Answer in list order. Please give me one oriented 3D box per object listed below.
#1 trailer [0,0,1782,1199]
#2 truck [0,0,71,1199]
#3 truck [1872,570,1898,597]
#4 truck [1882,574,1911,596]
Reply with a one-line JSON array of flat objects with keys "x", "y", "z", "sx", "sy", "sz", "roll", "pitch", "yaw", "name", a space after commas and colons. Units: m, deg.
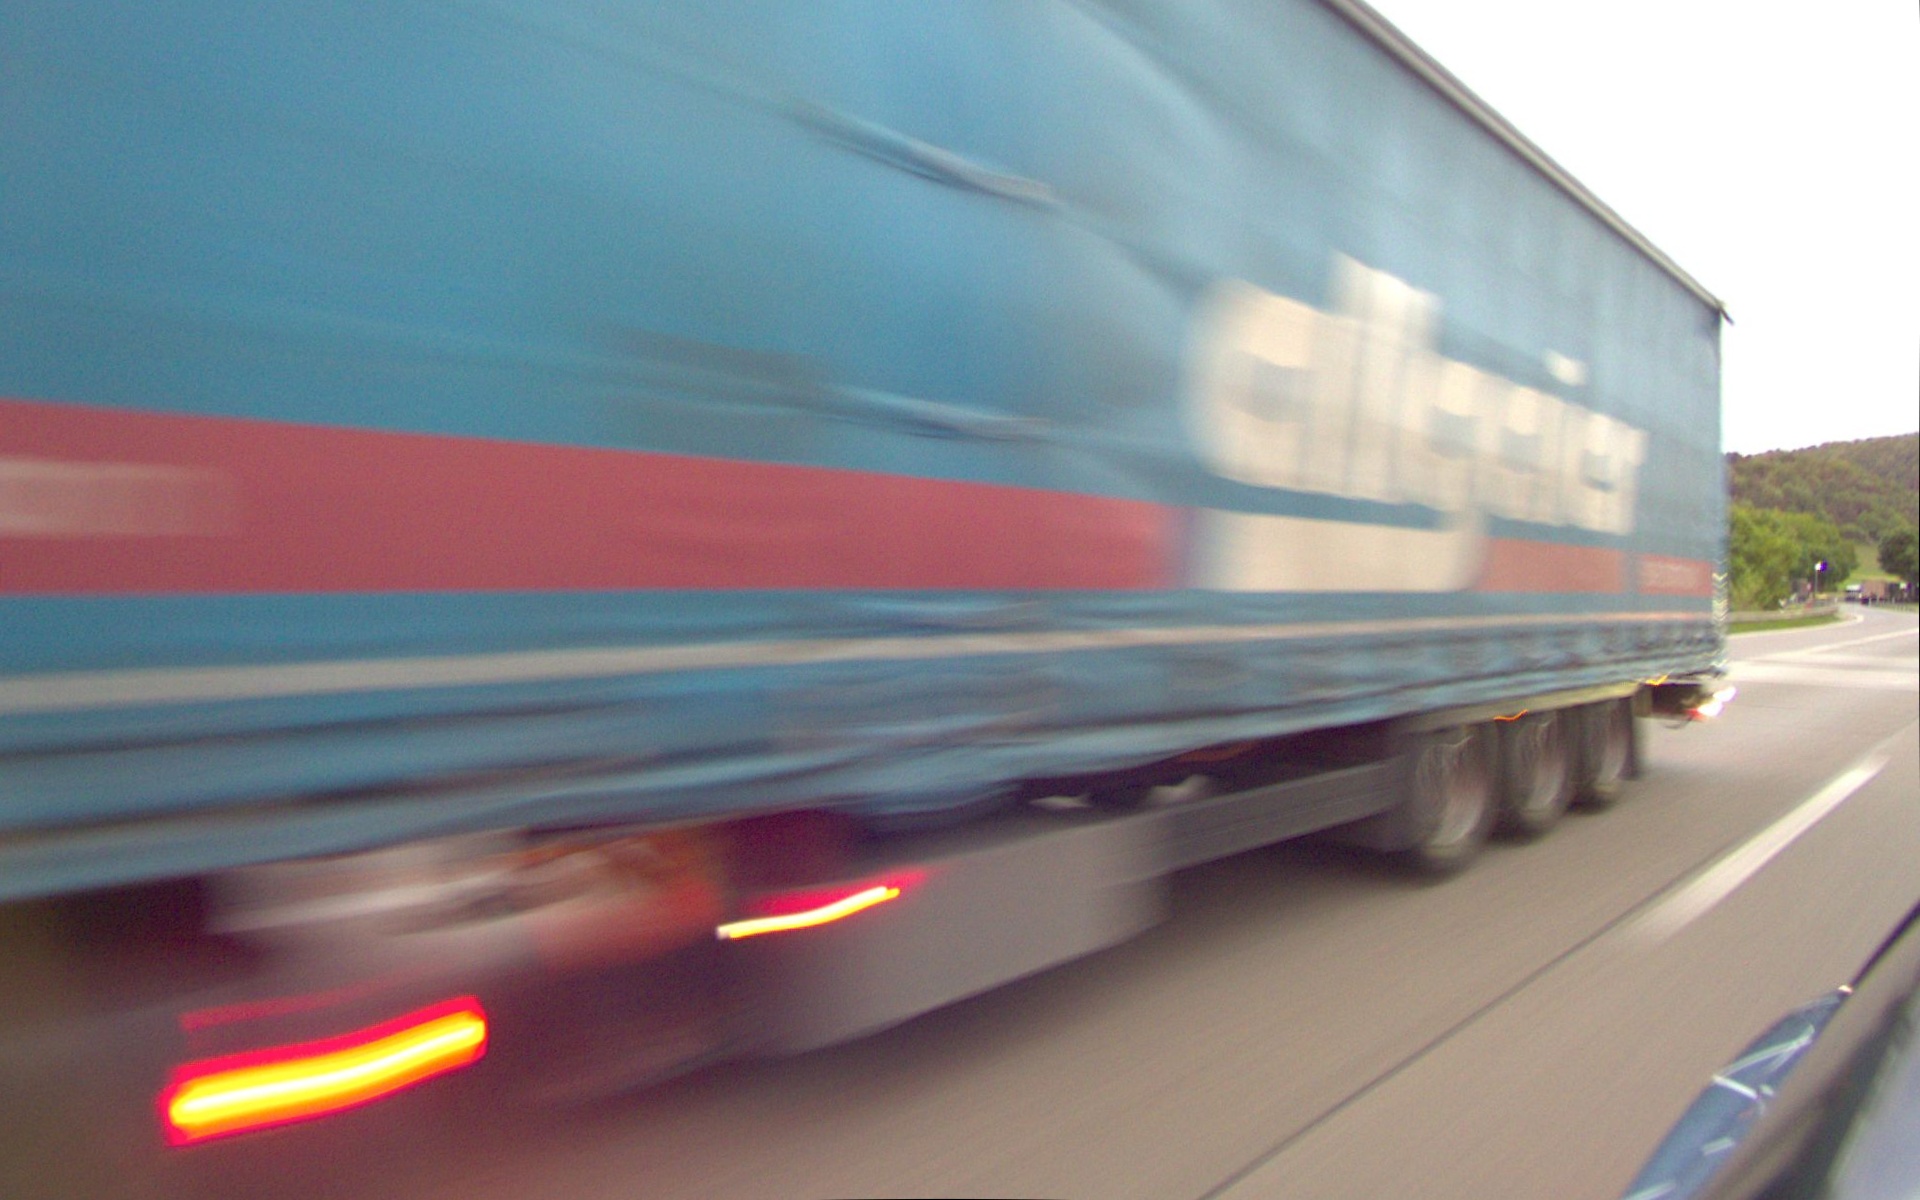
[{"x": 1.428, "y": -0.690, "z": 5.667, "sx": 13.502, "sy": 4.138, "sz": 2.776, "roll": -1, "pitch": 1, "yaw": -42, "name": "trailer"}, {"x": -4.375, "y": -0.622, "z": 0.555, "sx": 5.746, "sy": 4.047, "sz": 2.742, "roll": -1, "pitch": 0, "yaw": -40, "name": "truck"}, {"x": 141.425, "y": -2.501, "z": 154.809, "sx": 2.838, "sy": 3.964, "sz": 11.807, "roll": 2, "pitch": 2, "yaw": 42, "name": "truck"}, {"x": 172.473, "y": -2.814, "z": 186.361, "sx": 11.794, "sy": 3.964, "sz": 3.355, "roll": -1, "pitch": 2, "yaw": -45, "name": "truck"}]
